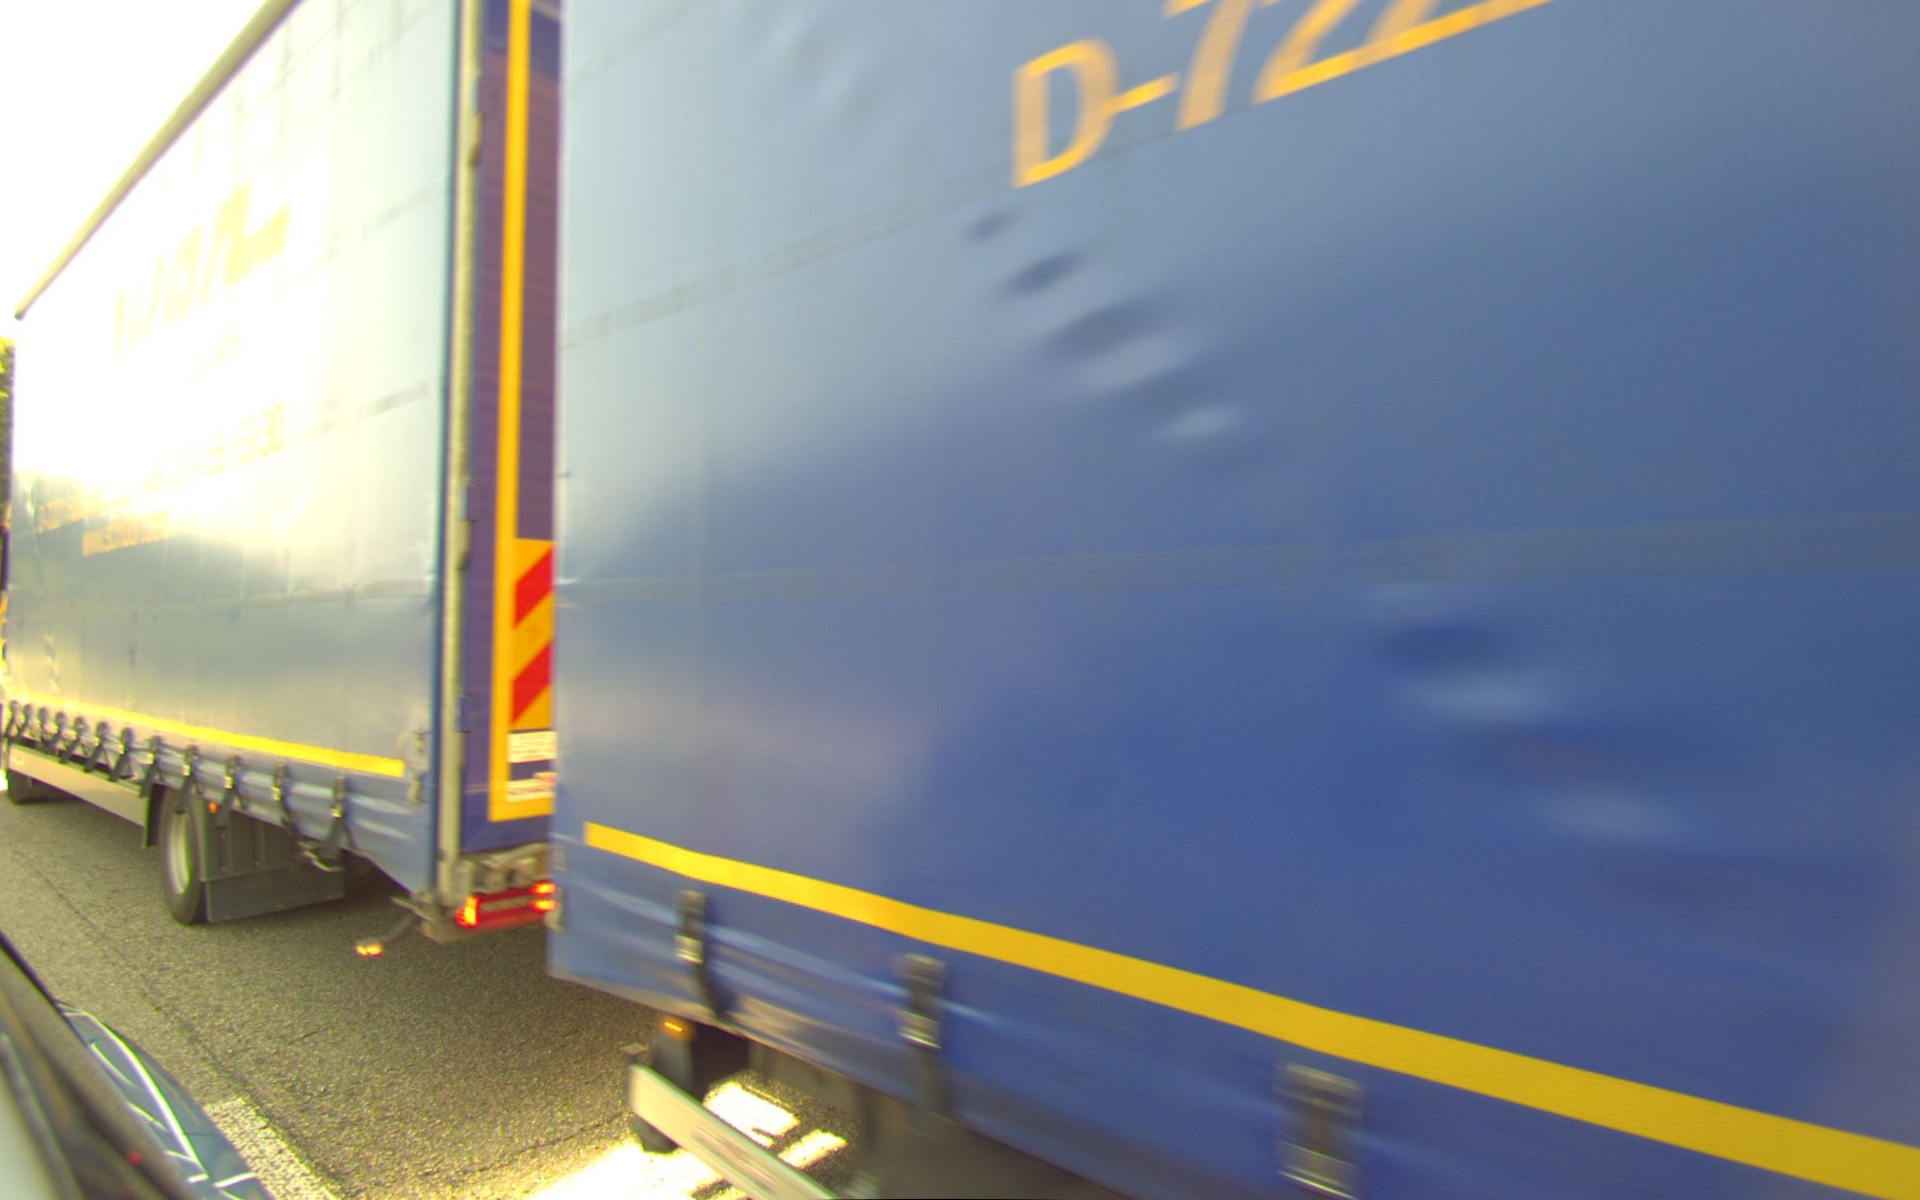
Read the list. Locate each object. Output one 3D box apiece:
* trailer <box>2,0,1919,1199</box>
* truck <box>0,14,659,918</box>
[{"bbox_3d":[0.551,-0.667,2.912,15.304,4.451,3.226,-3,-2,41],"label":"trailer"},{"bbox_3d":[-5.735,-0.541,8.301,6.567,4.430,3.155,-4,-2,41],"label":"truck"}]
